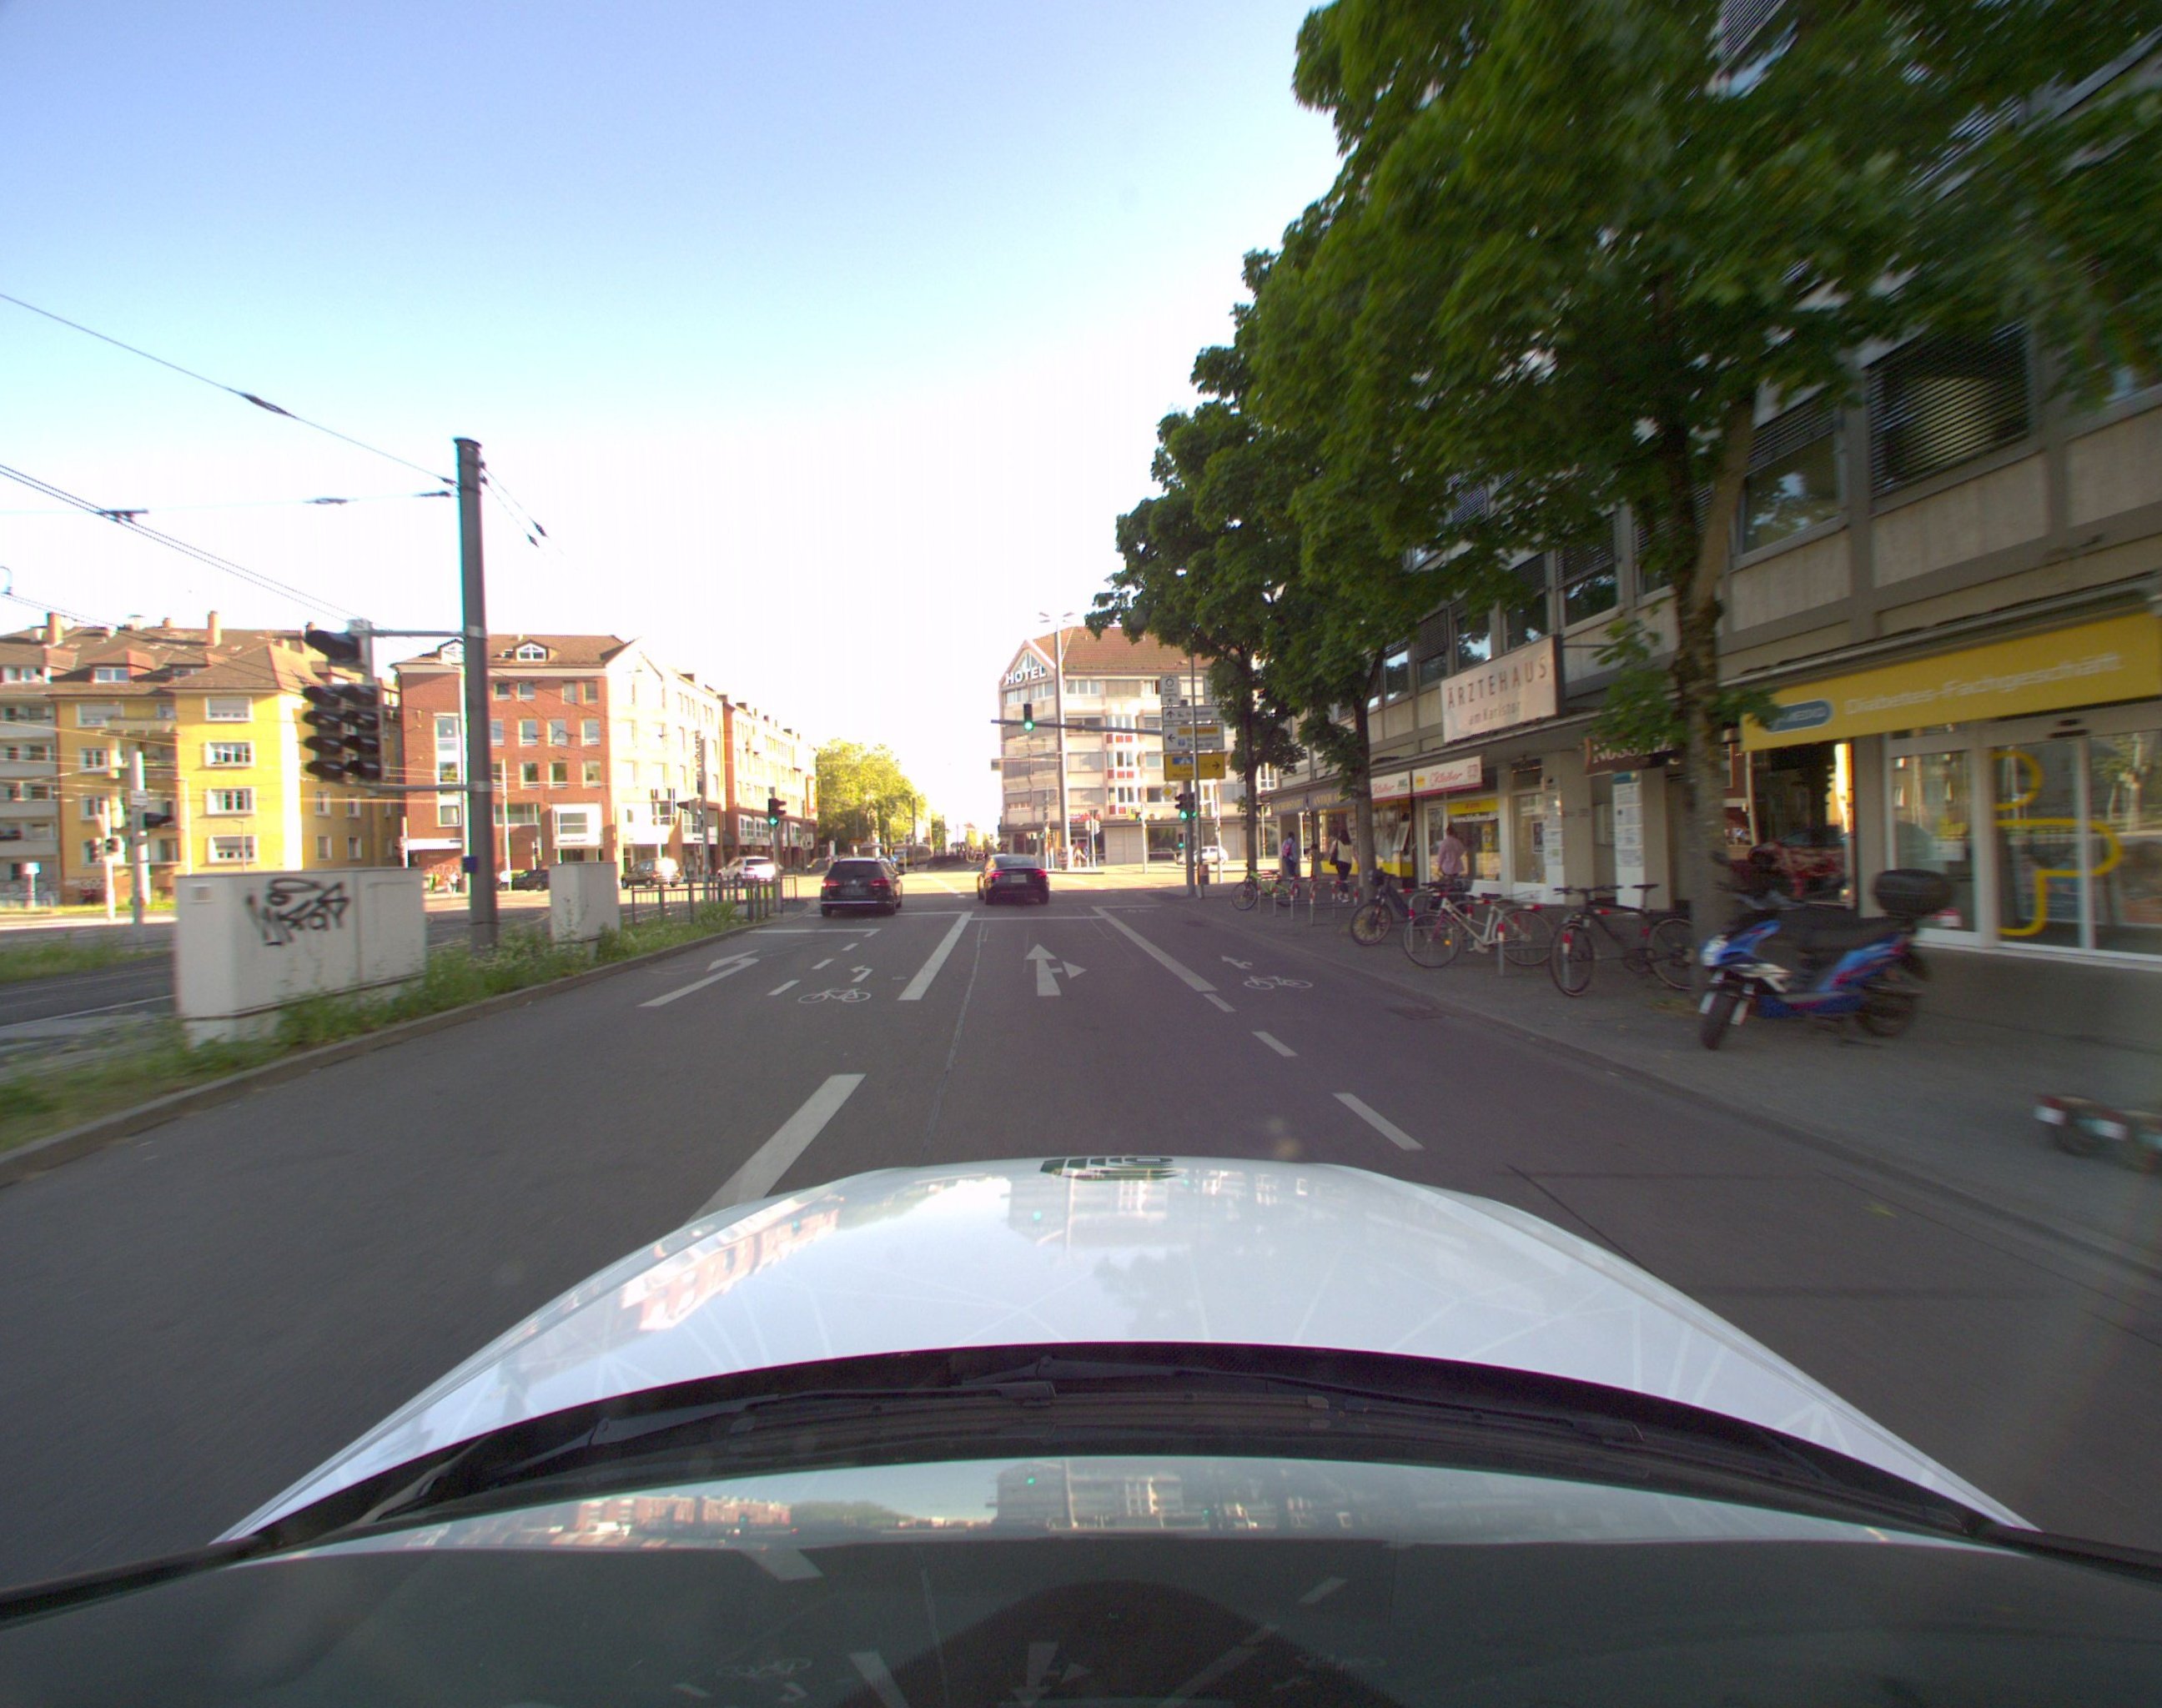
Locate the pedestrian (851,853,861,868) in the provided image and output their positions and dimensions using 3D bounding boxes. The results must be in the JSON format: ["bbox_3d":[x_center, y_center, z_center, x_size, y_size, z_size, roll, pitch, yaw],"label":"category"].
[{"bbox_3d":[-25.872,0.740,93.637,1.106,1.624,0.844,-2,0,-14],"label":"pedestrian"}]

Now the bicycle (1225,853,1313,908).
[{"bbox_3d":[4.407,0.613,19.092,1.885,1.156,0.480,-4,0,-3],"label":"bicycle"}]

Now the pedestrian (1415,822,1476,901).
[{"bbox_3d":[7.710,0.161,17.263,0.841,1.602,0.879,-2,0,-3],"label":"pedestrian"}]

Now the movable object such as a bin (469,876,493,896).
[{"bbox_3d":[-44.686,2.378,60.671,0.997,1.436,1.091,-2,0,-12],"label":"movable object such as a bin"}]

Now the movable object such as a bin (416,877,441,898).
[{"bbox_3d":[-48.105,2.472,60.058,0.997,1.436,1.091,-2,0,-12],"label":"movable object such as a bin"}]

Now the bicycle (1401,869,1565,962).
[{"bbox_3d":[4.945,0.748,10.074,1.760,1.057,0.458,-2,0,2],"label":"bicycle"}]

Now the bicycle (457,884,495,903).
[{"bbox_3d":[-41.976,2.718,56.549,2.031,1.223,0.627,-2,0,-6],"label":"bicycle"}]

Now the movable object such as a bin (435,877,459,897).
[{"bbox_3d":[-46.957,2.432,60.367,0.997,1.436,1.091,-2,0,-12],"label":"movable object such as a bin"}]

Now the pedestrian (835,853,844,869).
[{"bbox_3d":[-26.254,0.782,88.544,0.578,1.721,0.641,-2,0,23],"label":"pedestrian"}]

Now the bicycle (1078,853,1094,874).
[{"bbox_3d":[0.370,0.674,59.498,0.584,1.463,1.675,-3,0,-18],"label":"bicycle"}]

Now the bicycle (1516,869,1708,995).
[{"bbox_3d":[5.245,0.739,8.042,1.853,1.056,0.397,-4,0,-15],"label":"bicycle"}]

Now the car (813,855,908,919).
[{"bbox_3d":[-5.571,0.764,21.115,1.763,1.444,4.517,-1,0,-7],"label":"car"}]

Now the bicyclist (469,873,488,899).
[{"bbox_3d":[-41.834,2.225,56.561,0.826,1.771,0.613,-2,0,-6],"label":"bicyclist"}]

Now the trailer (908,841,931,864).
[{"bbox_3d":[-26.445,-0.234,133.846,2.709,3.546,9.340,-2,0,-5],"label":"trailer"}]

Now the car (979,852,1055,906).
[{"bbox_3d":[-1.999,0.695,24.390,1.792,1.451,3.923,-1,0,-12],"label":"car"}]

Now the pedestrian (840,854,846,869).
[{"bbox_3d":[-24.586,0.740,84.106,0.585,1.531,0.633,-2,0,-20],"label":"pedestrian"}]

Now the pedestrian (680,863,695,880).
[{"bbox_3d":[-36.293,1.591,75.121,0.877,1.568,0.868,-2,0,19],"label":"pedestrian"}]

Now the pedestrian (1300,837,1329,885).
[{"bbox_3d":[7.073,0.201,24.653,0.643,1.422,0.621,-2,0,-2],"label":"pedestrian"}]

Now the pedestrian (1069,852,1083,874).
[{"bbox_3d":[-0.381,0.643,59.355,0.781,1.576,0.862,-2,1,-18],"label":"pedestrian"}]

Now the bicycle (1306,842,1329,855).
[{"bbox_3d":[20.835,-0.507,71.773,1.968,1.049,0.534,-2,0,-12],"label":"bicycle"}]

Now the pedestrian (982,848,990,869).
[{"bbox_3d":[-8.225,0.356,70.562,0.625,1.782,0.915,-2,0,-6],"label":"pedestrian"}]

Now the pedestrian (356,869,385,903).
[{"bbox_3d":[-36.974,1.663,42.374,0.695,1.710,0.927,-2,0,-9],"label":"pedestrian"}]

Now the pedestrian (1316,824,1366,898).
[{"bbox_3d":[6.201,0.172,19.489,0.841,1.707,0.879,-2,0,-3],"label":"pedestrian"}]

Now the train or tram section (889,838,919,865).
[{"bbox_3d":[-24.694,-0.342,114.097,2.725,3.542,10.068,-2,0,-5],"label":"train or tram section"}]

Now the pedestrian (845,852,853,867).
[{"bbox_3d":[-26.035,0.636,91.420,0.633,1.721,0.609,-2,0,3],"label":"pedestrian"}]

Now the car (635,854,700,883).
[{"bbox_3d":[-25.227,0.895,49.726,3.736,1.618,1.587,-2,0,27],"label":"car"}]

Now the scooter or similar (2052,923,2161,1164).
[{"bbox_3d":[5.016,0.842,3.715,0.953,1.039,0.160,-3,0,-1],"label":"scooter or similar"}]

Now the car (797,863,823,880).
[{"bbox_3d":[-28.551,1.843,85.850,1.816,1.544,3.782,-4,0,-8],"label":"car"}]

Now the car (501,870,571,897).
[{"bbox_3d":[-35.257,1.904,52.726,3.442,1.551,1.735,-2,0,8],"label":"car"}]

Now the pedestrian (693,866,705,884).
[{"bbox_3d":[-32.953,1.813,70.232,0.711,1.594,0.775,0,-1,-5],"label":"pedestrian"}]

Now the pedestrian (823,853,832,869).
[{"bbox_3d":[-25.386,0.720,81.643,0.631,1.564,0.587,-2,0,10],"label":"pedestrian"}]

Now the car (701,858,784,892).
[{"bbox_3d":[-17.586,1.077,42.346,3.452,1.635,1.851,-2,0,11],"label":"car"}]

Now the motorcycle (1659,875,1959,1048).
[{"bbox_3d":[5.280,0.752,5.947,1.783,1.129,0.503,-2,0,-4],"label":"motorcycle"}]

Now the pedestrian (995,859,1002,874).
[{"bbox_3d":[-8.932,1.358,88.336,0.695,1.677,0.748,-2,0,-5],"label":"pedestrian"}]

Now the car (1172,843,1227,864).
[{"bbox_3d":[9.168,-0.044,63.293,3.839,1.432,1.798,-2,-2,-9],"label":"car"}]

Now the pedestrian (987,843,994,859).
[{"bbox_3d":[-8.927,-0.285,80.259,0.475,1.562,0.539,-2,-1,-32],"label":"pedestrian"}]

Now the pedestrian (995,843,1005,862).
[{"bbox_3d":[-7.741,-0.170,77.718,0.912,1.754,0.838,-2,0,-3],"label":"pedestrian"}]

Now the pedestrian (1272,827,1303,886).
[{"bbox_3d":[6.241,0.082,24.664,0.837,1.721,0.883,-2,0,12],"label":"pedestrian"}]

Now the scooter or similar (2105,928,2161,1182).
[{"bbox_3d":[5.016,0.838,3.517,0.961,1.043,0.160,-3,0,-1],"label":"scooter or similar"}]

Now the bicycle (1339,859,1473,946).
[{"bbox_3d":[4.776,0.693,11.974,1.808,1.151,0.434,-3,0,-8],"label":"bicycle"}]

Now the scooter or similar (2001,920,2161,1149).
[{"bbox_3d":[5.004,0.851,3.915,0.961,1.027,0.160,-3,0,-1],"label":"scooter or similar"}]

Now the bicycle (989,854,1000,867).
[{"bbox_3d":[-8.192,0.647,77.417,0.490,1.161,1.958,-2,0,-23],"label":"bicycle"}]

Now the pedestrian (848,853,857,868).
[{"bbox_3d":[-25.986,0.740,92.622,1.000,1.624,0.844,-2,0,-14],"label":"pedestrian"}]
